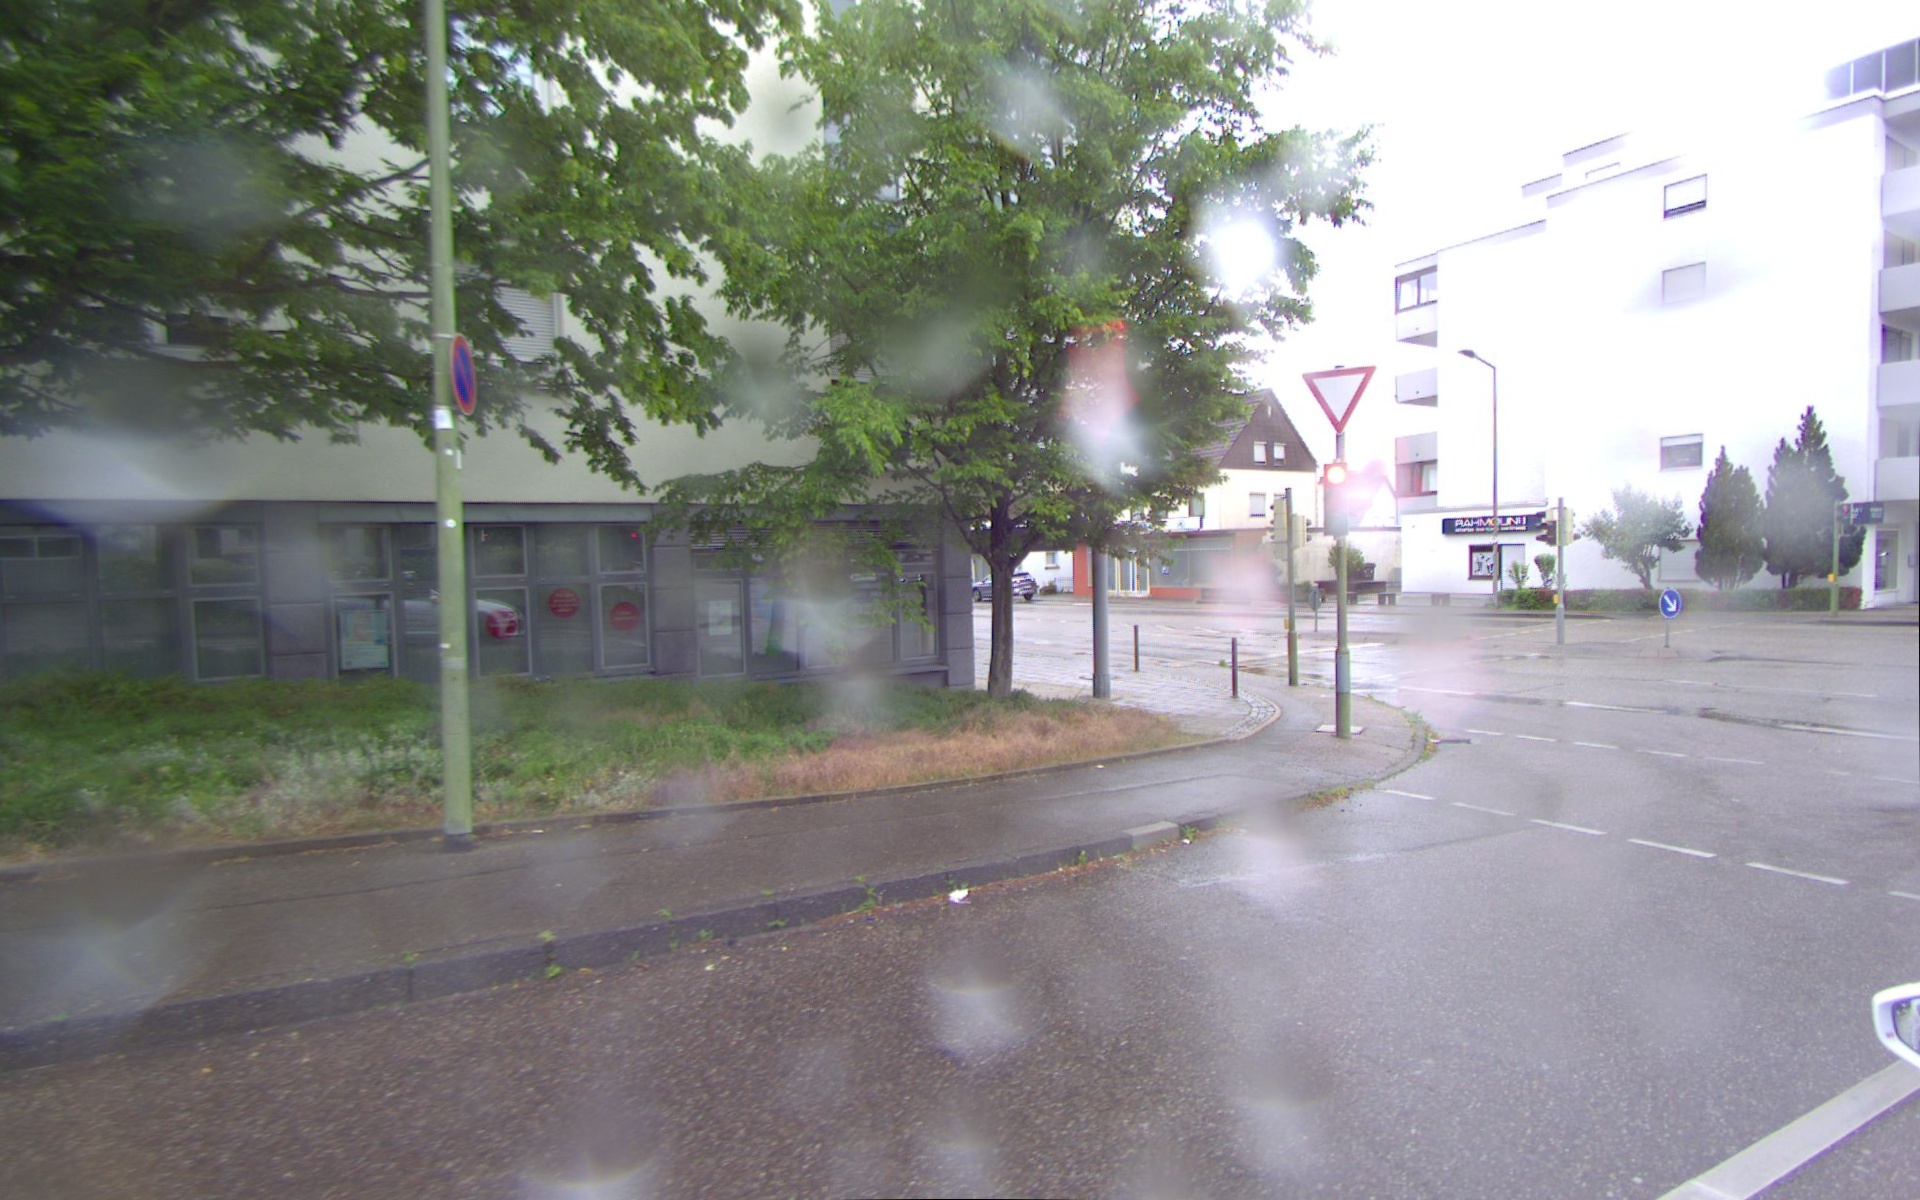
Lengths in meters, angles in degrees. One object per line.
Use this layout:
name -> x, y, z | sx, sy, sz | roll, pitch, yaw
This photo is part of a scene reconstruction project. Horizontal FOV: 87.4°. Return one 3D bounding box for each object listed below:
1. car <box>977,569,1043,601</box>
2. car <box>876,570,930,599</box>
car -> 2.842, -0.874, 57.721 | 1.976, 1.718, 3.968 | -1, 3, -30
car -> -3.874, -1.057, 67.368 | 2.087, 1.719, 3.968 | -1, 4, -30
